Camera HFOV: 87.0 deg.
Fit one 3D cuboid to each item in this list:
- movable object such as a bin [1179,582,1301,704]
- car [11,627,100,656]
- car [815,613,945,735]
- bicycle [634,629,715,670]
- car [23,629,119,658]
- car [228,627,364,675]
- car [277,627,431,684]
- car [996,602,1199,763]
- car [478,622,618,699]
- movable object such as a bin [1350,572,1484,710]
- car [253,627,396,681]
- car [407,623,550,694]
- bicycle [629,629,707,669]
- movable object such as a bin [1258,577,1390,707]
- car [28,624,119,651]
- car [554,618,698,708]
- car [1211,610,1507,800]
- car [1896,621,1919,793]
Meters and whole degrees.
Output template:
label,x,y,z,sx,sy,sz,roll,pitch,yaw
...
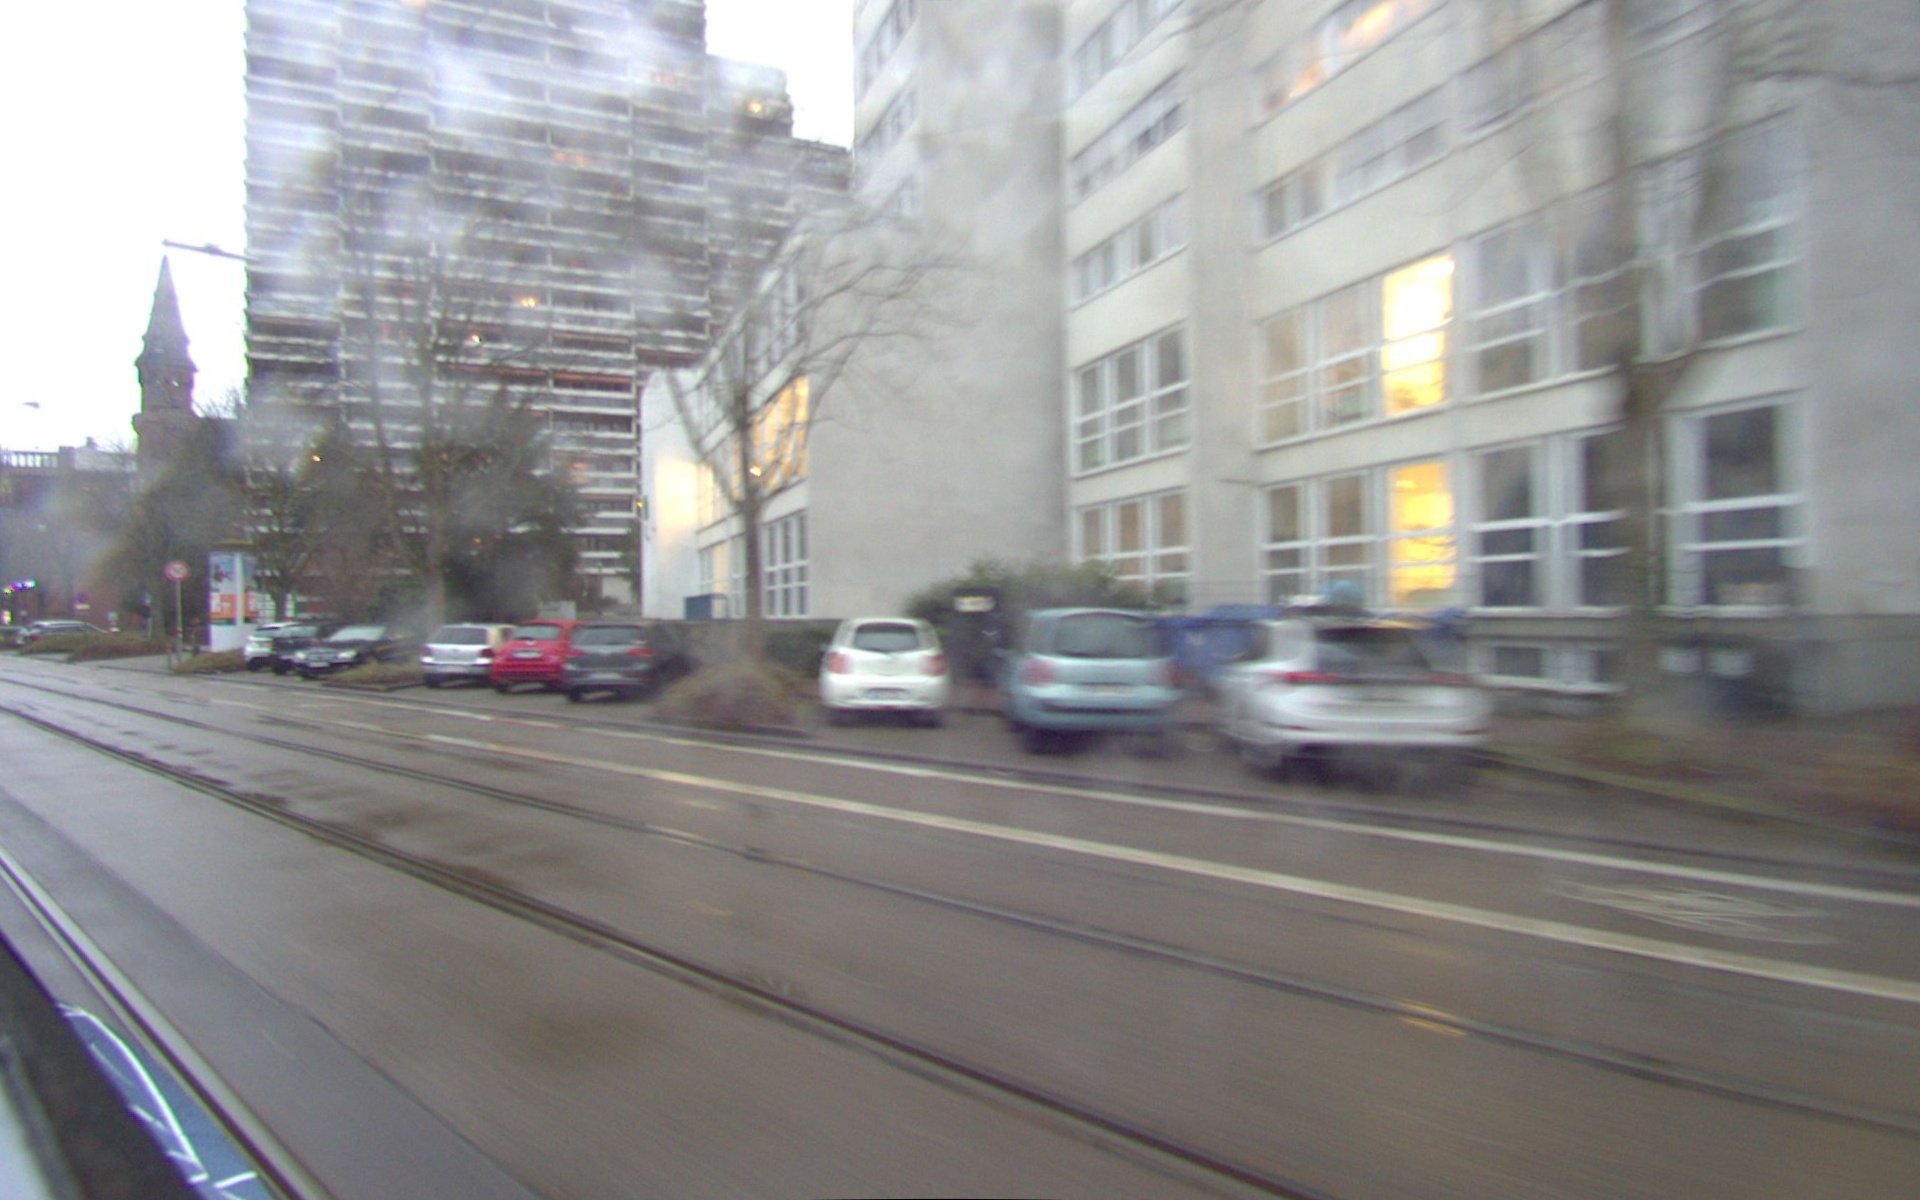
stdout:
label,x,y,z,sx,sy,sz,roll,pitch,yaw
movable object such as a bin,4.594,0.696,16.600,1.317,1.874,1.553,-4,-3,41
car,-54.439,2.464,60.967,3.940,1.652,2.002,1,-3,-44
car,-1.207,1.029,15.188,1.667,1.563,3.880,-1,-2,-5
bicycle,-8.314,1.435,29.505,2.167,1.129,0.644,0,-2,-27
car,-49.385,2.402,56.251,3.940,1.497,1.673,1,-3,-44
car,-21.043,1.593,32.294,1.829,1.410,4.001,-1,-2,-2
car,-16.084,1.437,27.121,1.829,1.389,4.001,-1,-2,-2
car,1.441,0.884,12.087,1.712,1.575,4.001,-1,-2,-2
car,-8.759,1.257,21.802,1.704,1.504,3.452,-1,-2,-2
movable object such as a bin,6.672,0.600,14.769,1.317,1.874,1.553,-4,-3,41
car,-18.659,1.552,29.962,1.829,1.474,4.001,-1,-2,-2
car,-11.055,1.310,23.549,1.765,1.457,4.005,-1,-2,-6
bicycle,-8.749,1.469,30.360,2.167,1.129,0.644,0,-2,-27
movable object such as a bin,5.646,0.647,15.680,1.393,1.874,1.553,-4,-3,41
car,-51.875,2.195,59.263,3.940,1.497,1.673,1,-3,-44
car,-6.211,1.147,19.238,1.671,1.504,3.856,-1,-2,-4
car,3.586,0.865,9.885,1.716,1.455,3.991,0,-2,7
car,8.750,0.785,6.144,1.722,1.362,4.355,0,-2,-8
